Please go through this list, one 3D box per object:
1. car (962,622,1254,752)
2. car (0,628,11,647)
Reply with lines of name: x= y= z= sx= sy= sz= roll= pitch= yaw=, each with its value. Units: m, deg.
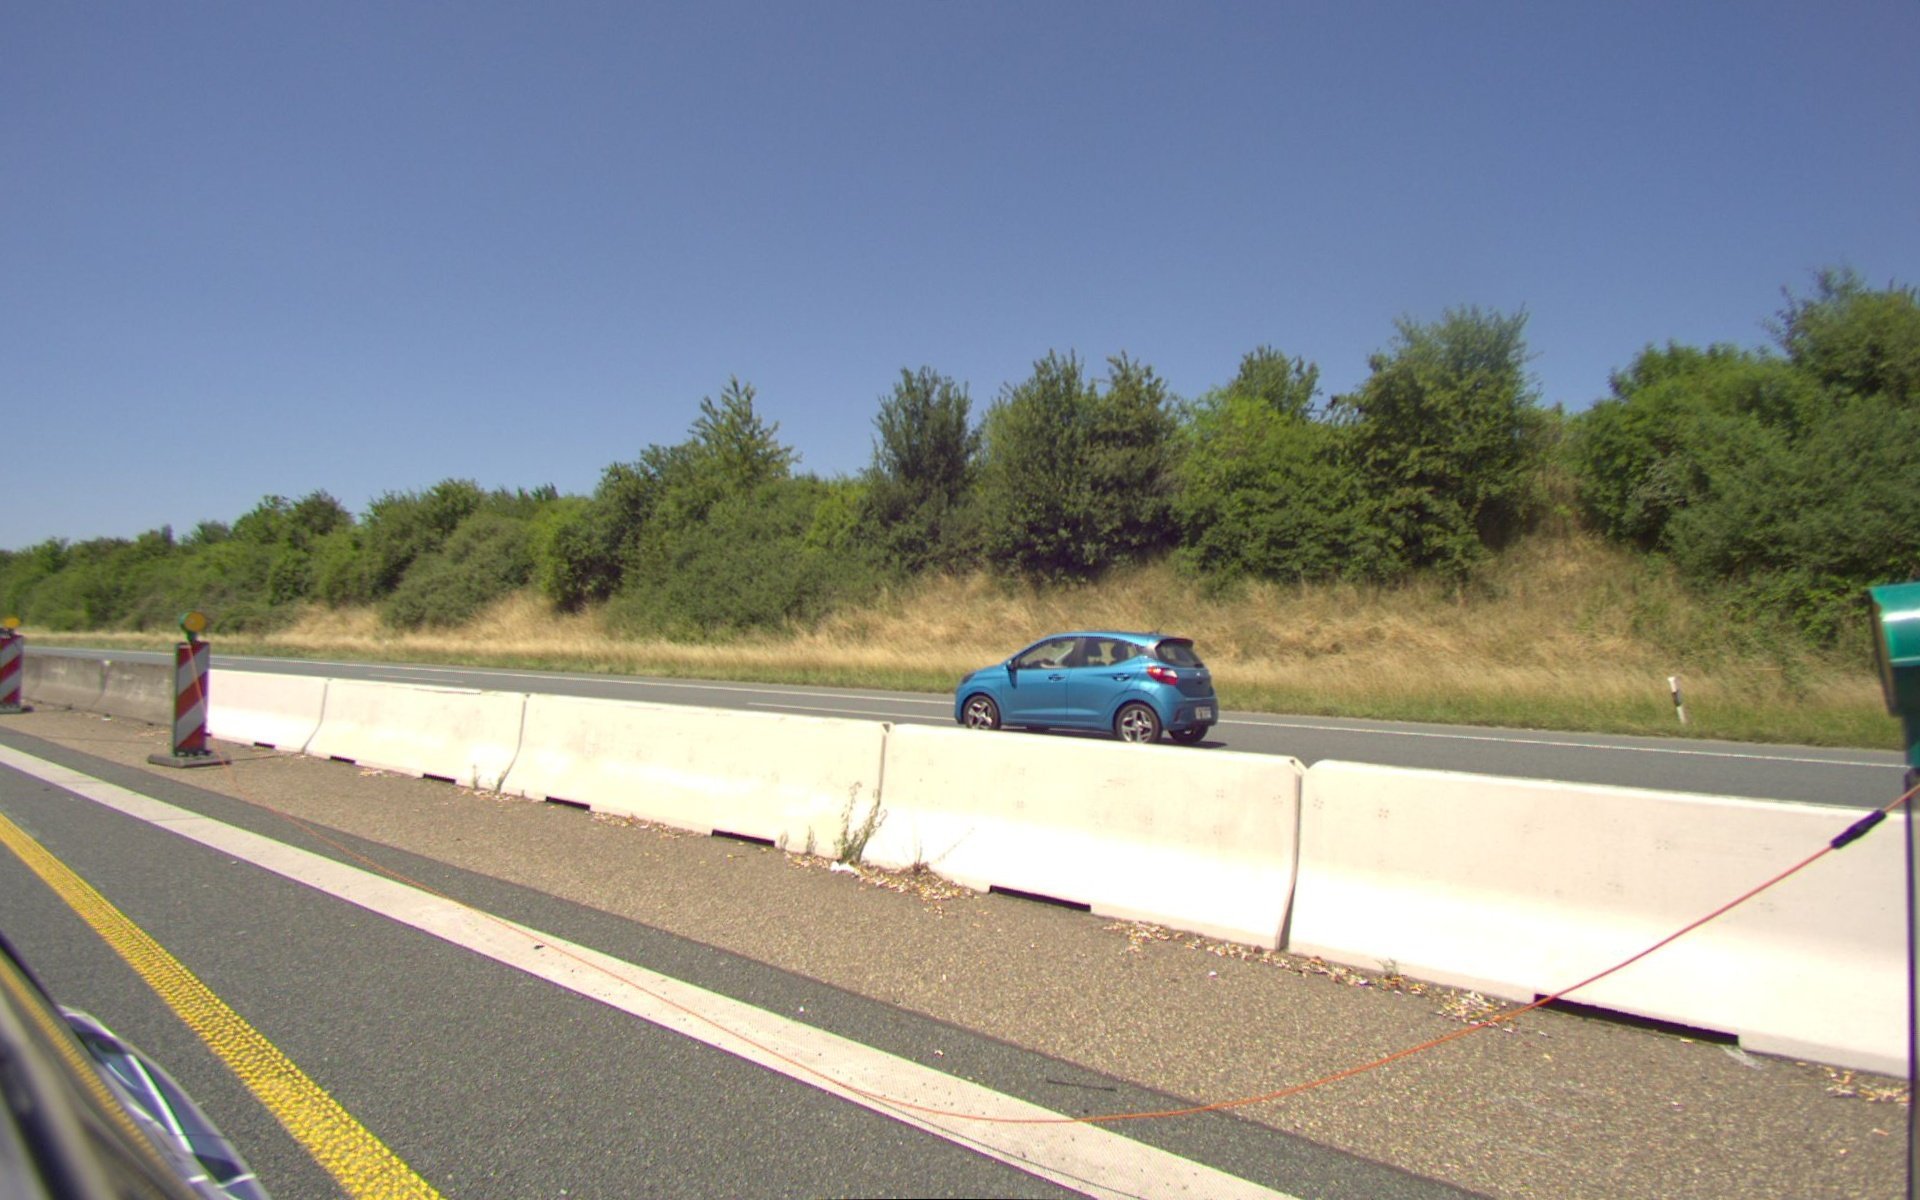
car: x=1.977 y=1.124 z=13.762 sx=3.473 sy=1.529 sz=1.872 roll=-1 pitch=-5 yaw=37
car: x=-70.825 y=2.716 z=73.923 sx=3.510 sy=1.364 sz=1.749 roll=-1 pitch=-2 yaw=40
